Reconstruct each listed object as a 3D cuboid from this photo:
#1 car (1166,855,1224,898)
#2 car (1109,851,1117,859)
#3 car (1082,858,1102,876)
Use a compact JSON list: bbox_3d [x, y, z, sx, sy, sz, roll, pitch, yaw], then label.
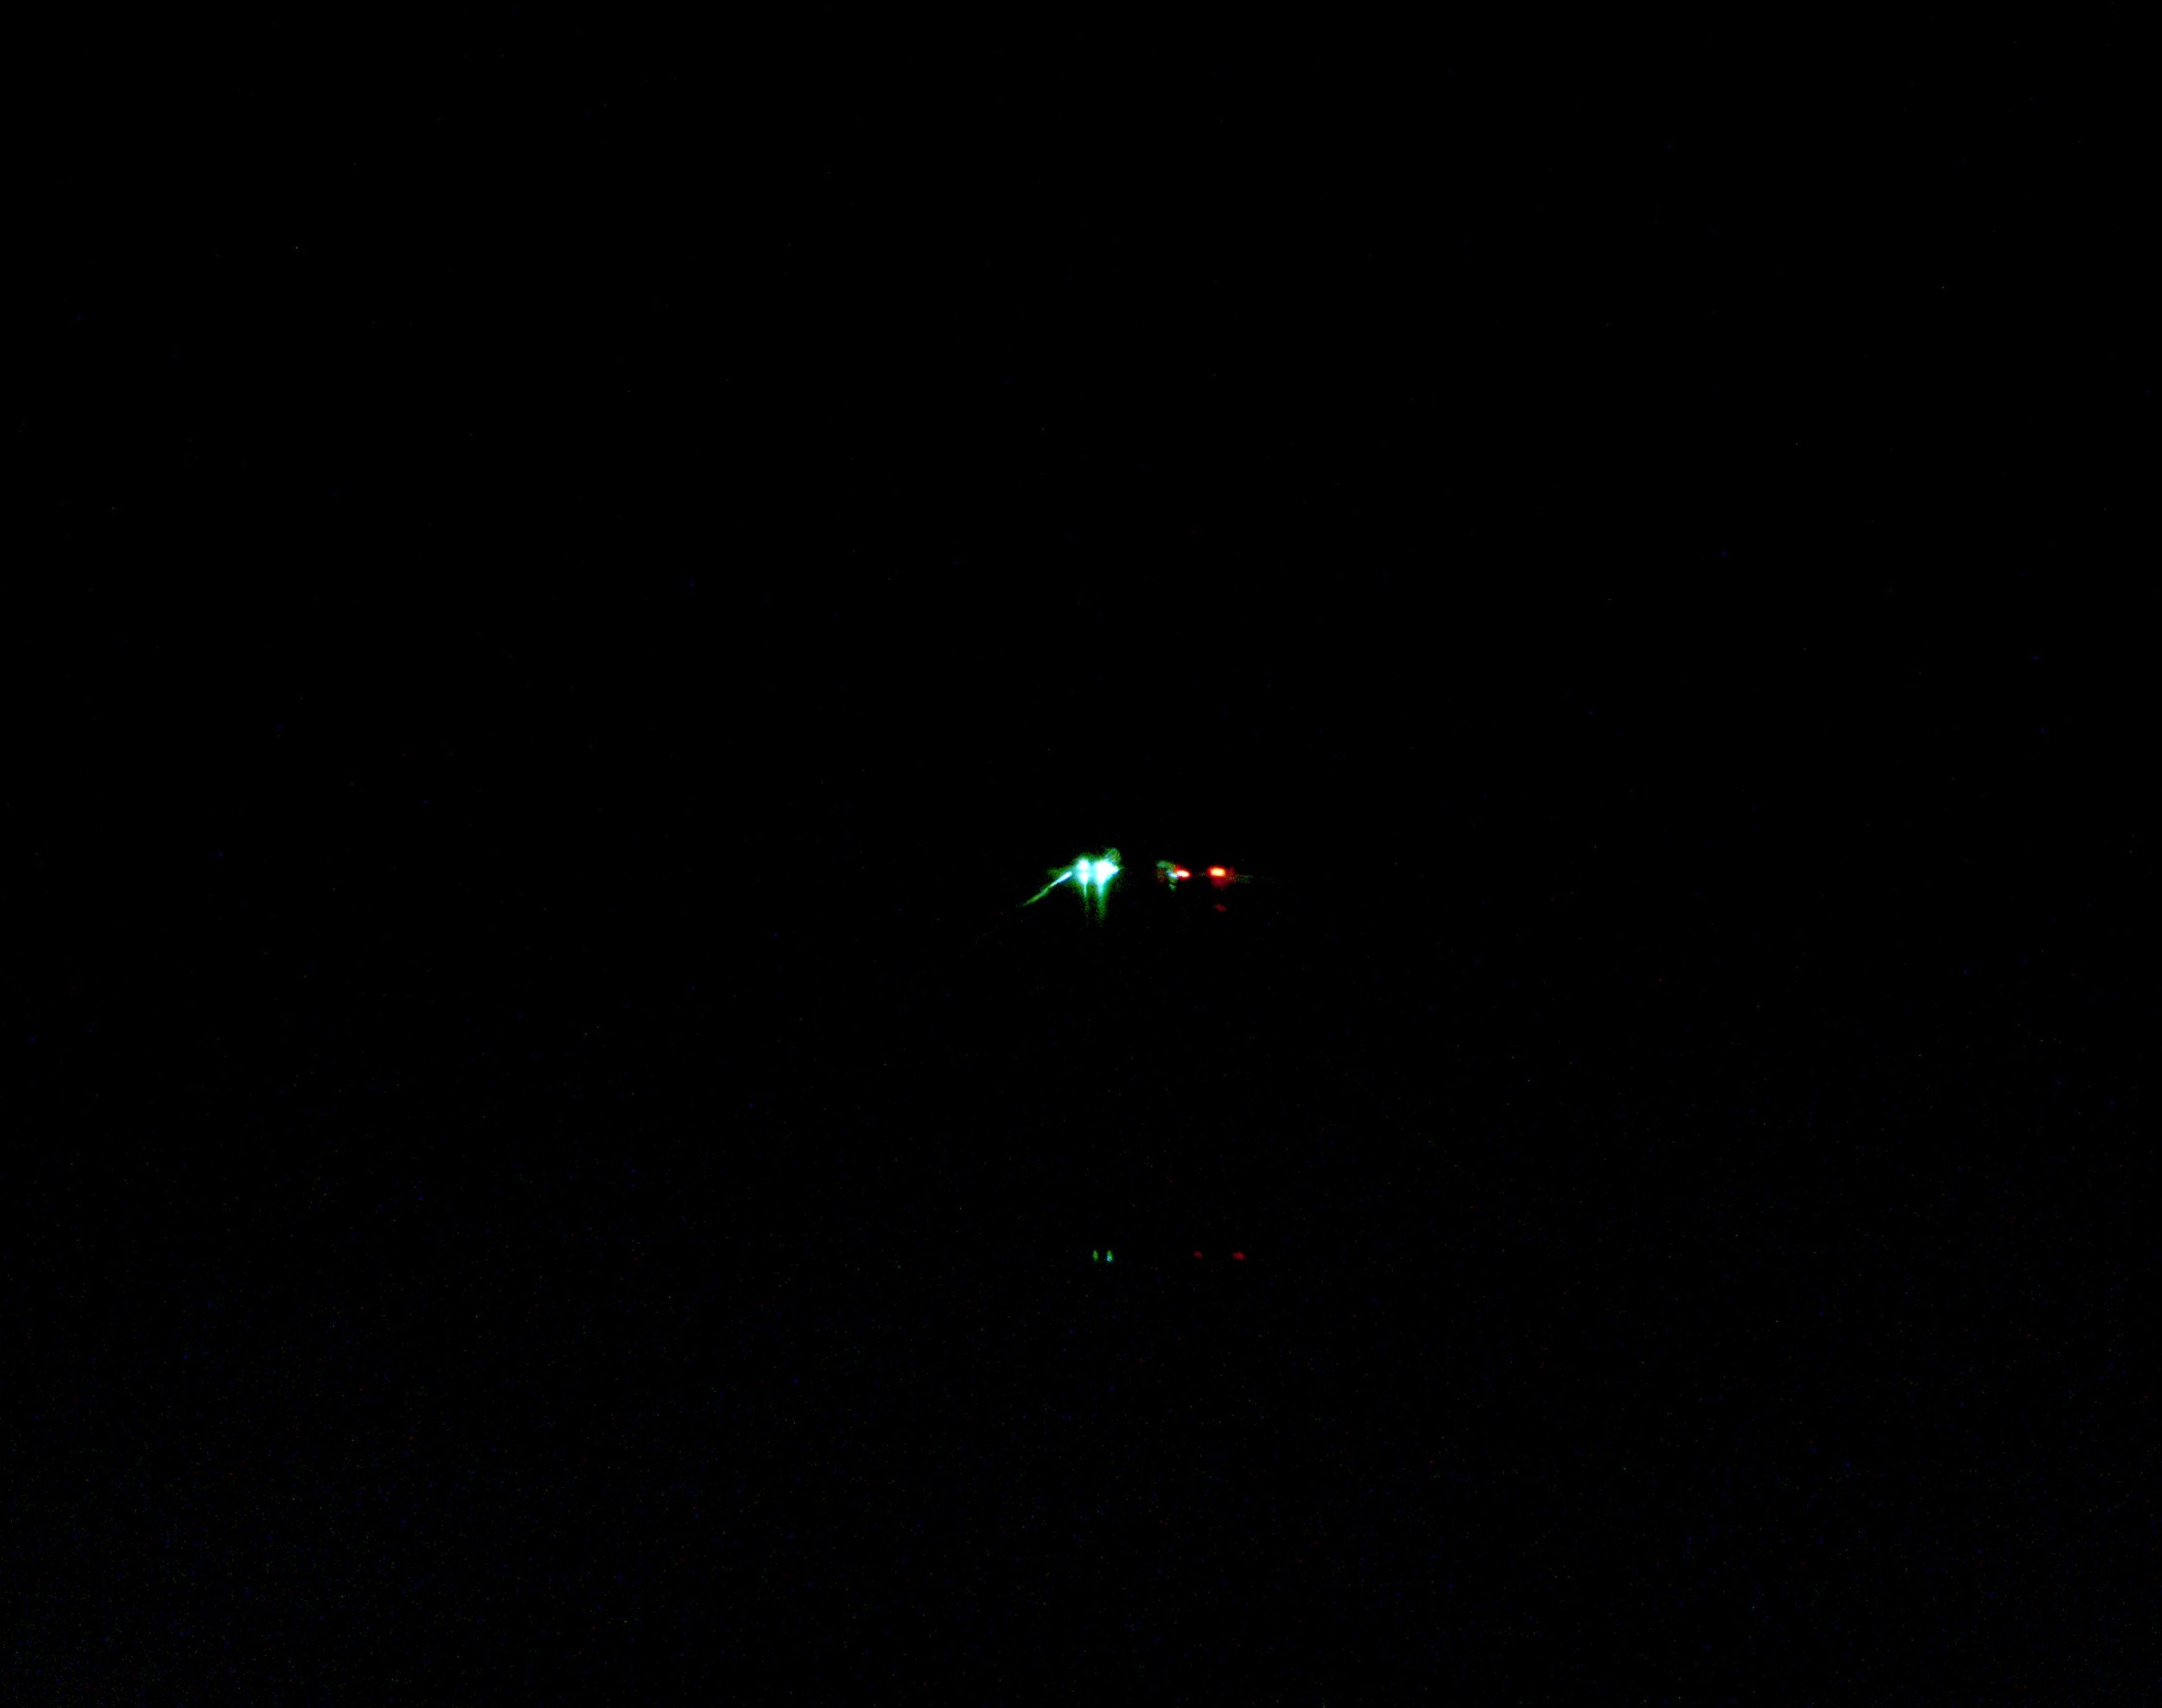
[{"bbox_3d":[4.150,0.780,28.044,1.585,1.377,3.585,-3,1,1],"label":"car"},{"bbox_3d":[7.301,0.208,172.920,1.819,1.724,4.000,-3,1,1],"label":"car"},{"bbox_3d":[1.206,1.361,81.396,1.998,1.724,4.000,-3,1,1],"label":"car"}]
